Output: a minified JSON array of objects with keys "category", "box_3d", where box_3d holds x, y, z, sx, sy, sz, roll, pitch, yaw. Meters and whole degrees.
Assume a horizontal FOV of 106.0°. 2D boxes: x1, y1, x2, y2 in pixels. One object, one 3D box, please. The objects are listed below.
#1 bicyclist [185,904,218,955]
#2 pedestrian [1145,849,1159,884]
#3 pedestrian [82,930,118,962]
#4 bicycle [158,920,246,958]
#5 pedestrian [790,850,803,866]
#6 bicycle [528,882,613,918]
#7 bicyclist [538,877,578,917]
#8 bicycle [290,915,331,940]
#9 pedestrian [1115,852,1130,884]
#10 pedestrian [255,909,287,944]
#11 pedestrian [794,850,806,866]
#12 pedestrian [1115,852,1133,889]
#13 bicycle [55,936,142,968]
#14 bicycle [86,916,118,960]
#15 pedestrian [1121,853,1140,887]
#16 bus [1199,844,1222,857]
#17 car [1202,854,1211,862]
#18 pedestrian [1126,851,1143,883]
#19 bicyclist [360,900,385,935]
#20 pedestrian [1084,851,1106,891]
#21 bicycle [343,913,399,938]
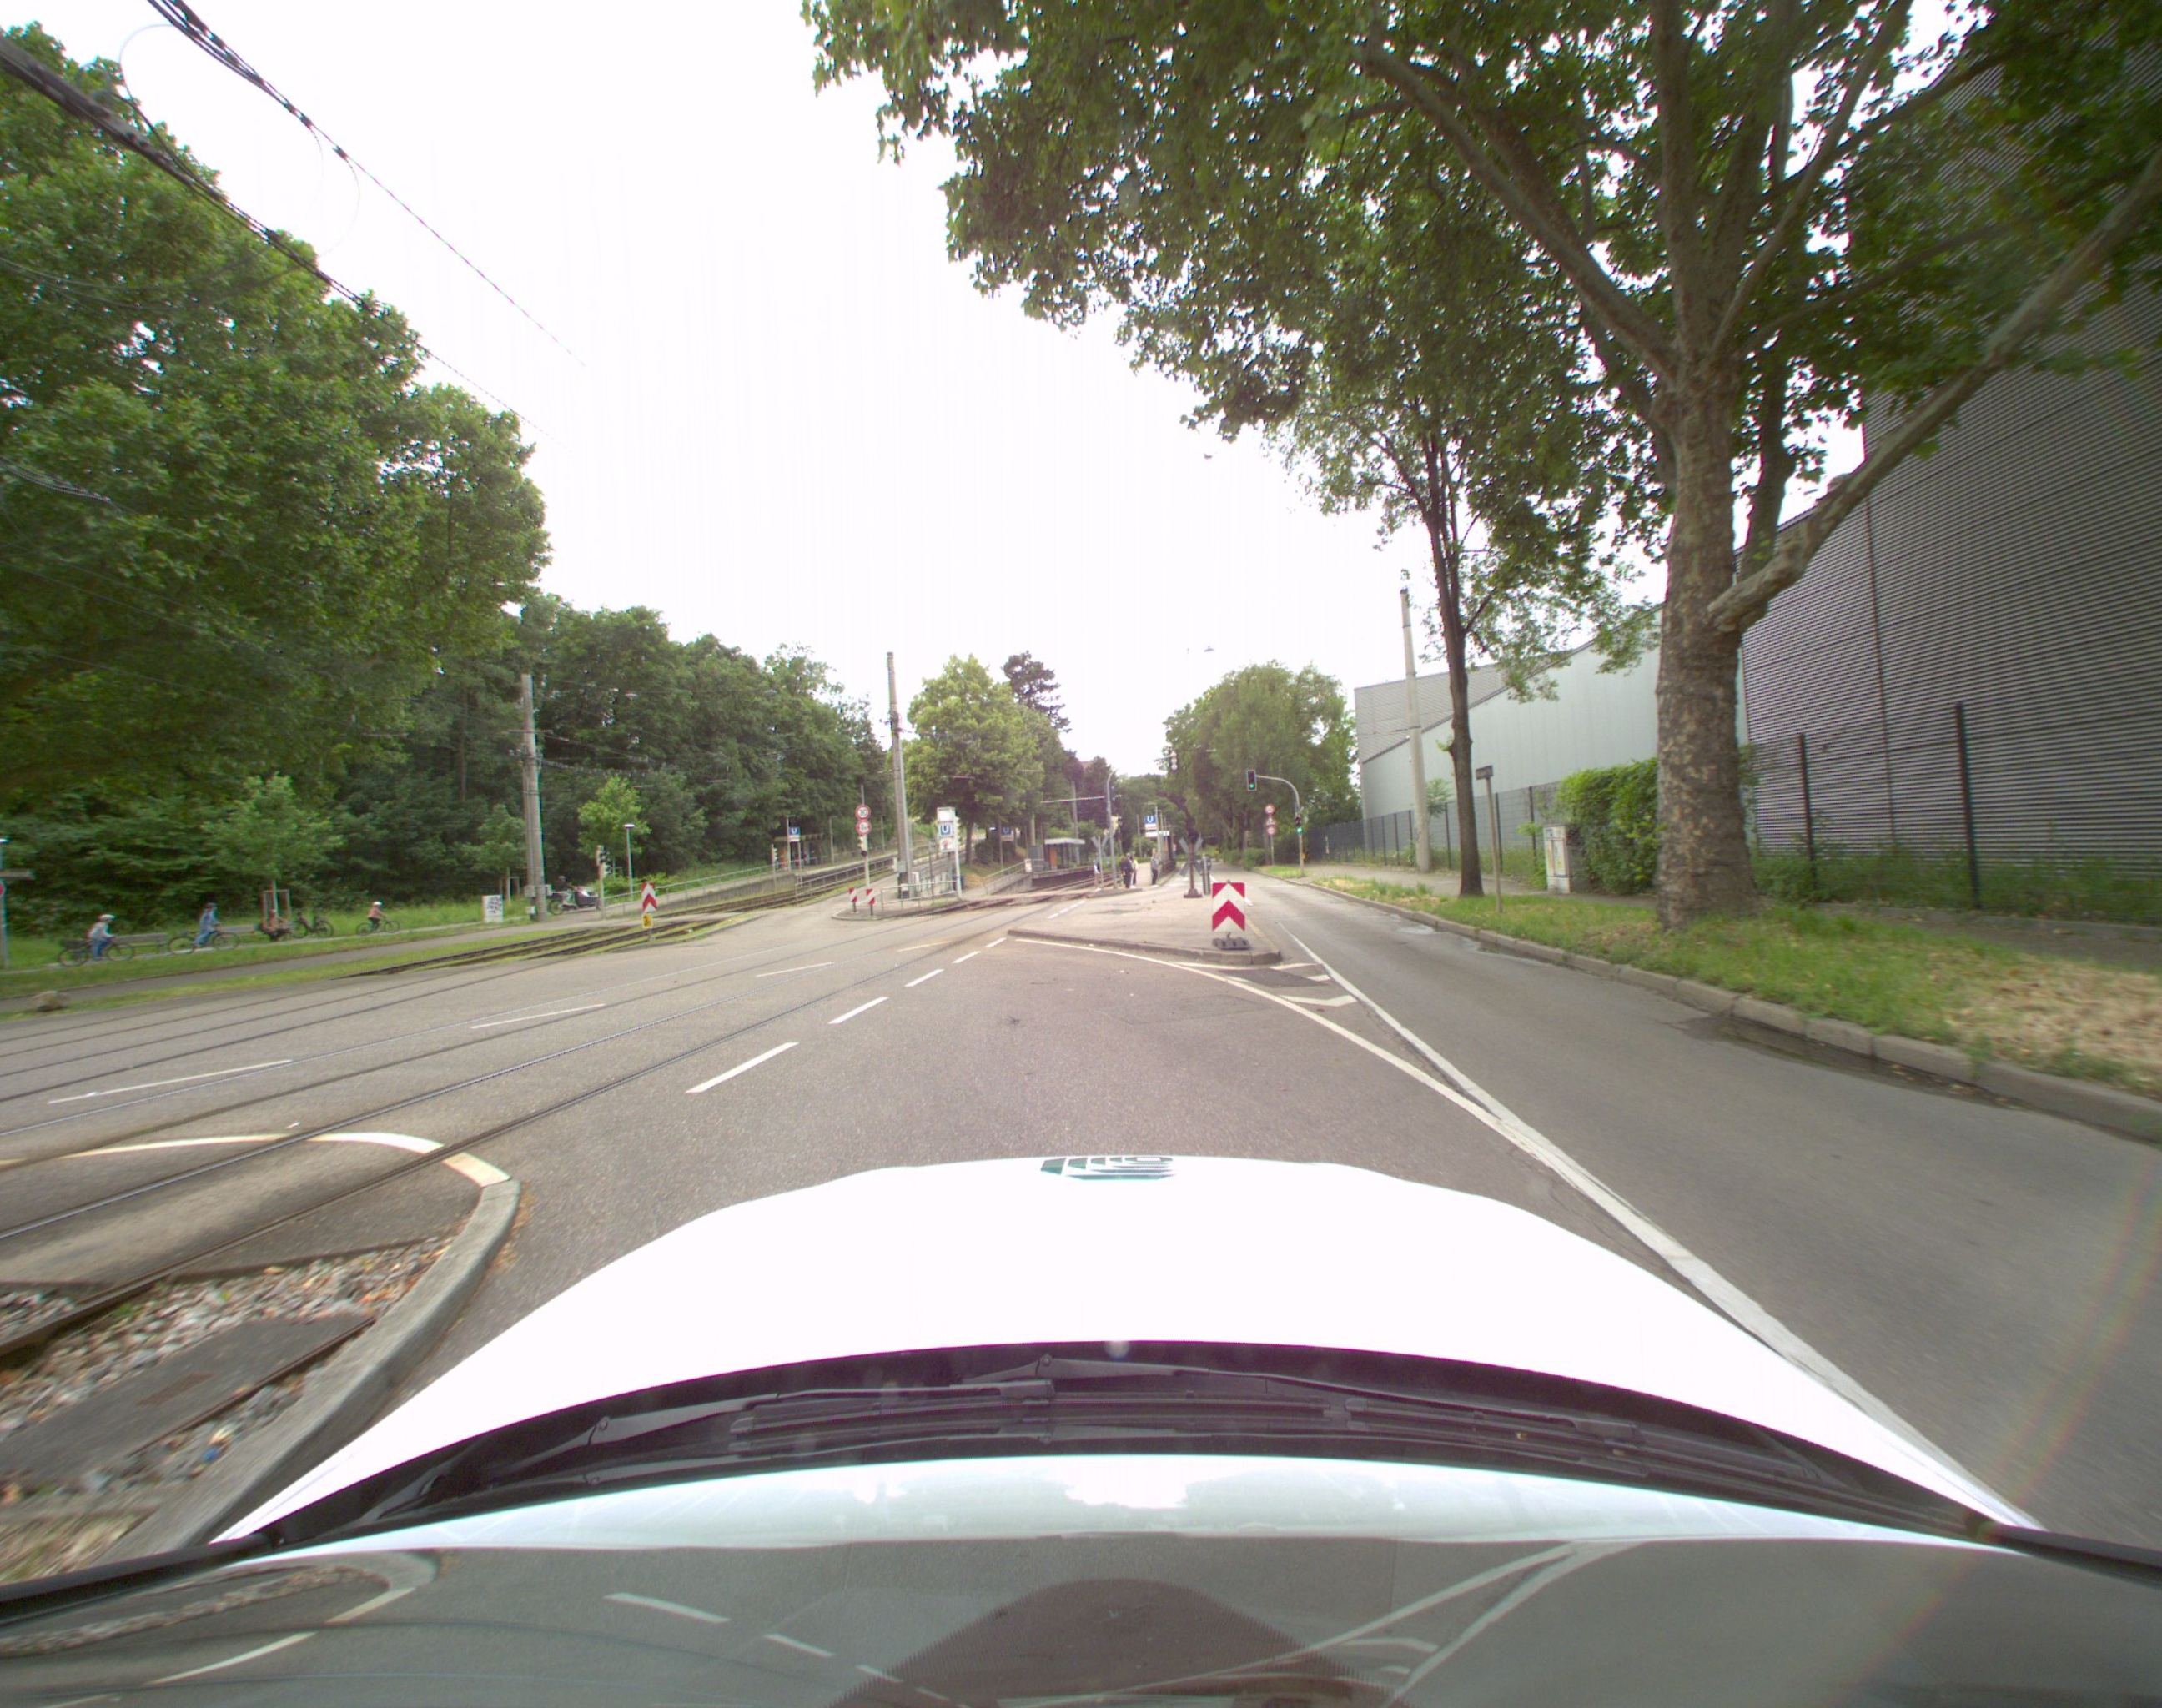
[{"category":"bicyclist","box_3d":[-30.051,2.572,27.824,0.469,1.674,0.628,0,2,31]},{"category":"pedestrian","box_3d":[3.592,0.610,41.181,0.546,1.758,0.740,-1,-1,12]},{"category":"pedestrian","box_3d":[-32.509,3.030,26.978,0.526,0.989,0.623,-1,-1,22]},{"category":"bicycle","box_3d":[-30.030,2.892,27.855,0.469,1.041,1.957,0,2,31]},{"category":"pedestrian","box_3d":[-24.084,0.364,68.862,0.769,1.326,0.787,-1,2,-1]},{"category":"bicycle","box_3d":[-24.045,2.146,38.460,0.726,1.289,3.369,1,4,34]},{"category":"bicyclist","box_3d":[-24.375,1.971,37.950,0.726,1.711,1.301,1,4,34]},{"category":"bicycle","box_3d":[-30.528,2.906,32.260,1.725,0.885,0.626,-1,-1,26]},{"category":"pedestrian","box_3d":[2.252,0.753,44.235,0.733,1.665,0.681,-1,-1,-3]},{"category":"pedestrian","box_3d":[-30.523,2.731,30.692,0.573,1.235,0.677,-1,-1,20]},{"category":"pedestrian","box_3d":[-24.095,0.347,69.831,0.769,1.326,0.787,-1,-1,-1]},{"category":"pedestrian","box_3d":[1.981,0.765,37.562,0.731,1.665,0.683,-1,-1,9]},{"category":"bicycle","box_3d":[-31.013,3.083,25.736,0.449,0.738,1.663,0,3,28]},{"category":"bicycle","box_3d":[-30.990,2.651,25.784,0.449,1.329,0.519,0,3,28]},{"category":"pedestrian","box_3d":[2.434,0.777,39.969,0.673,1.665,0.741,-1,-1,22]},{"category":"bus","box_3d":[37.270,-1.079,234.566,2.707,3.626,8.999,-1,0,35]},{"category":"car","box_3d":[26.262,0.873,171.085,1.734,1.599,4.008,-1,0,7]},{"category":"pedestrian","box_3d":[2.797,0.691,42.515,0.673,1.665,0.741,-1,-1,22]},{"category":"bicyclist","box_3d":[-27.905,2.498,32.097,0.449,1.301,0.585,2,5,37]},{"category":"pedestrian","box_3d":[0.654,0.799,38.123,0.808,1.821,0.664,-1,-1,-31]},{"category":"bicycle","box_3d":[-27.944,2.796,32.069,0.449,0.738,1.569,2,5,37]}]
